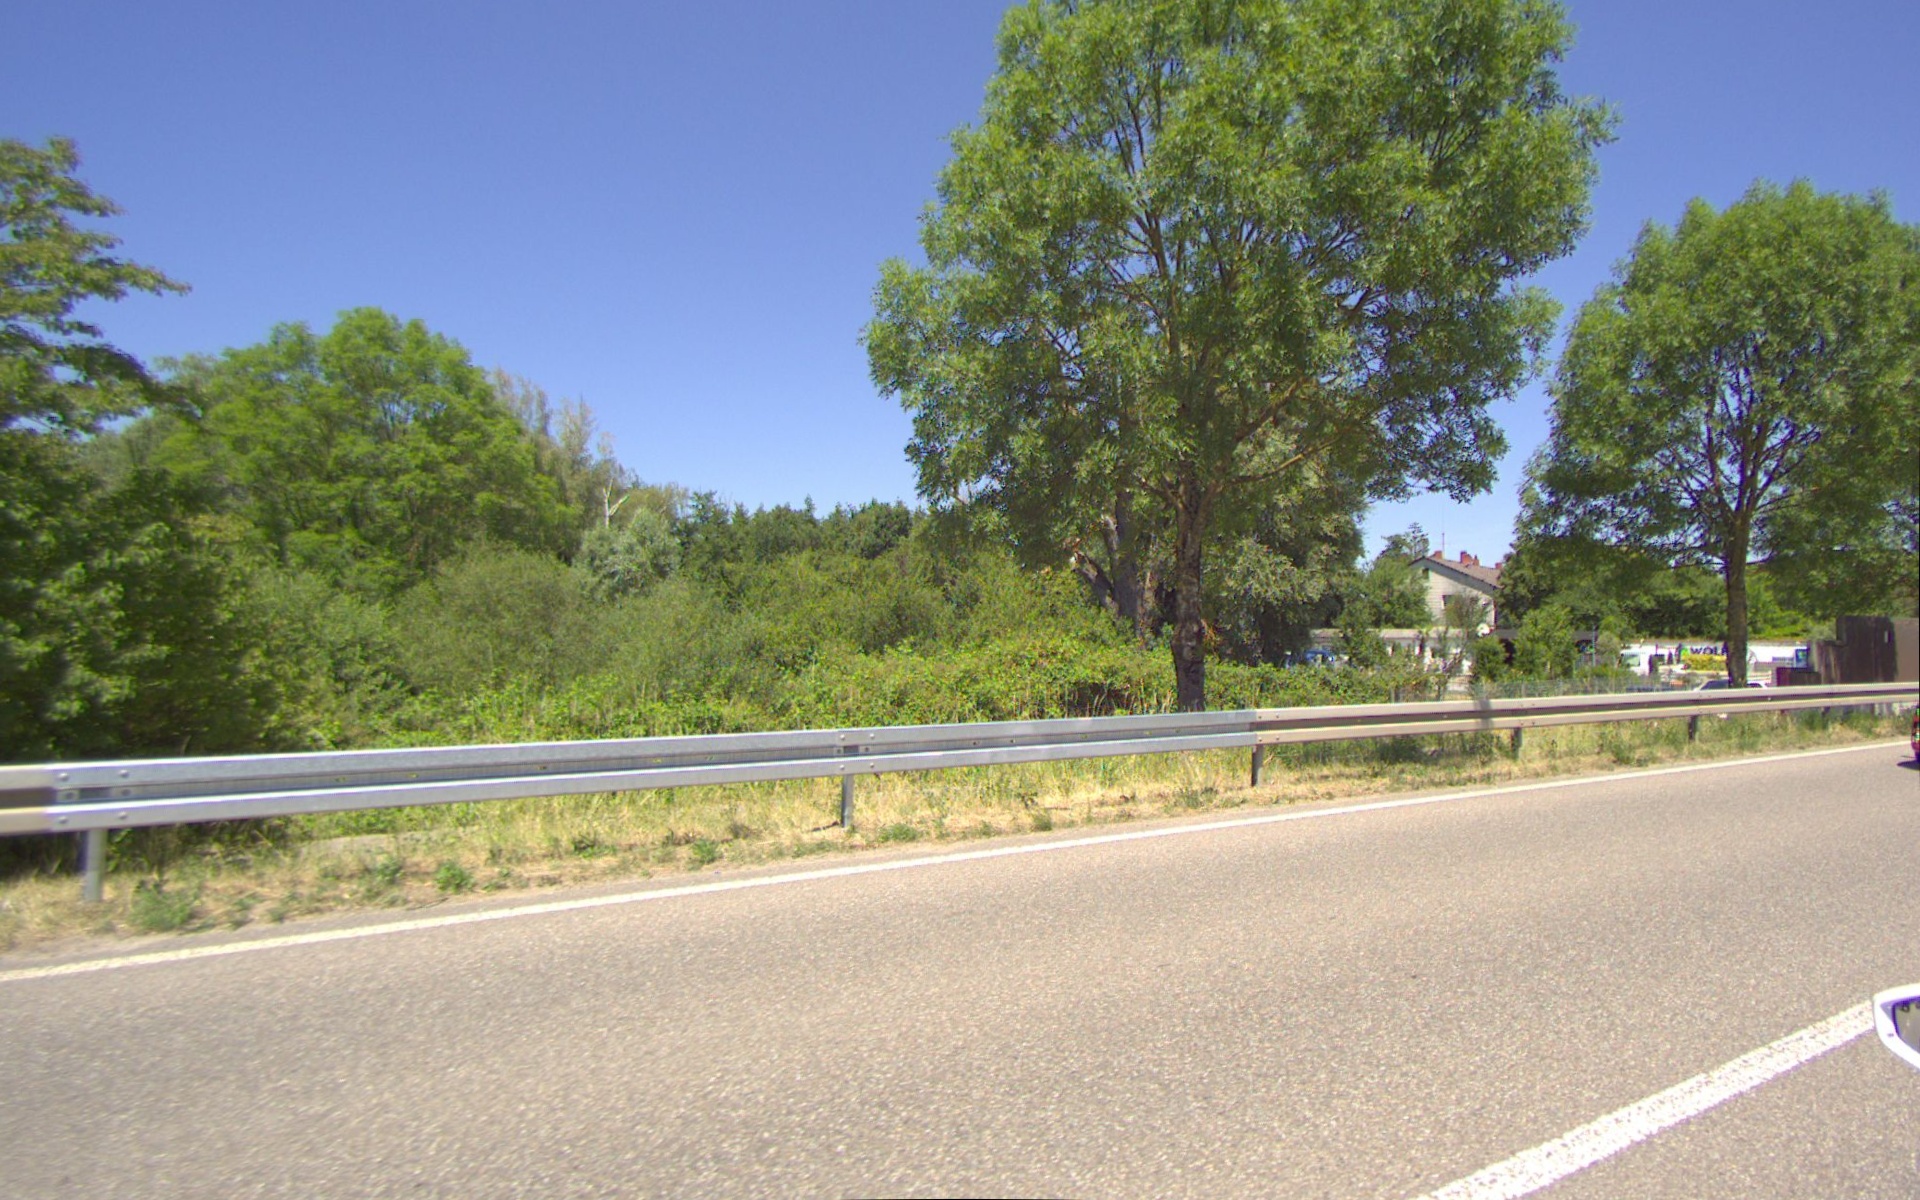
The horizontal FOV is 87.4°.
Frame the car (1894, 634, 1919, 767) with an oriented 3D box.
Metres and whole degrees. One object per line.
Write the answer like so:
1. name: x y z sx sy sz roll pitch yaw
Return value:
1. car: 12.437 1.135 11.413 3.957 1.440 1.779 2 -1 -33
